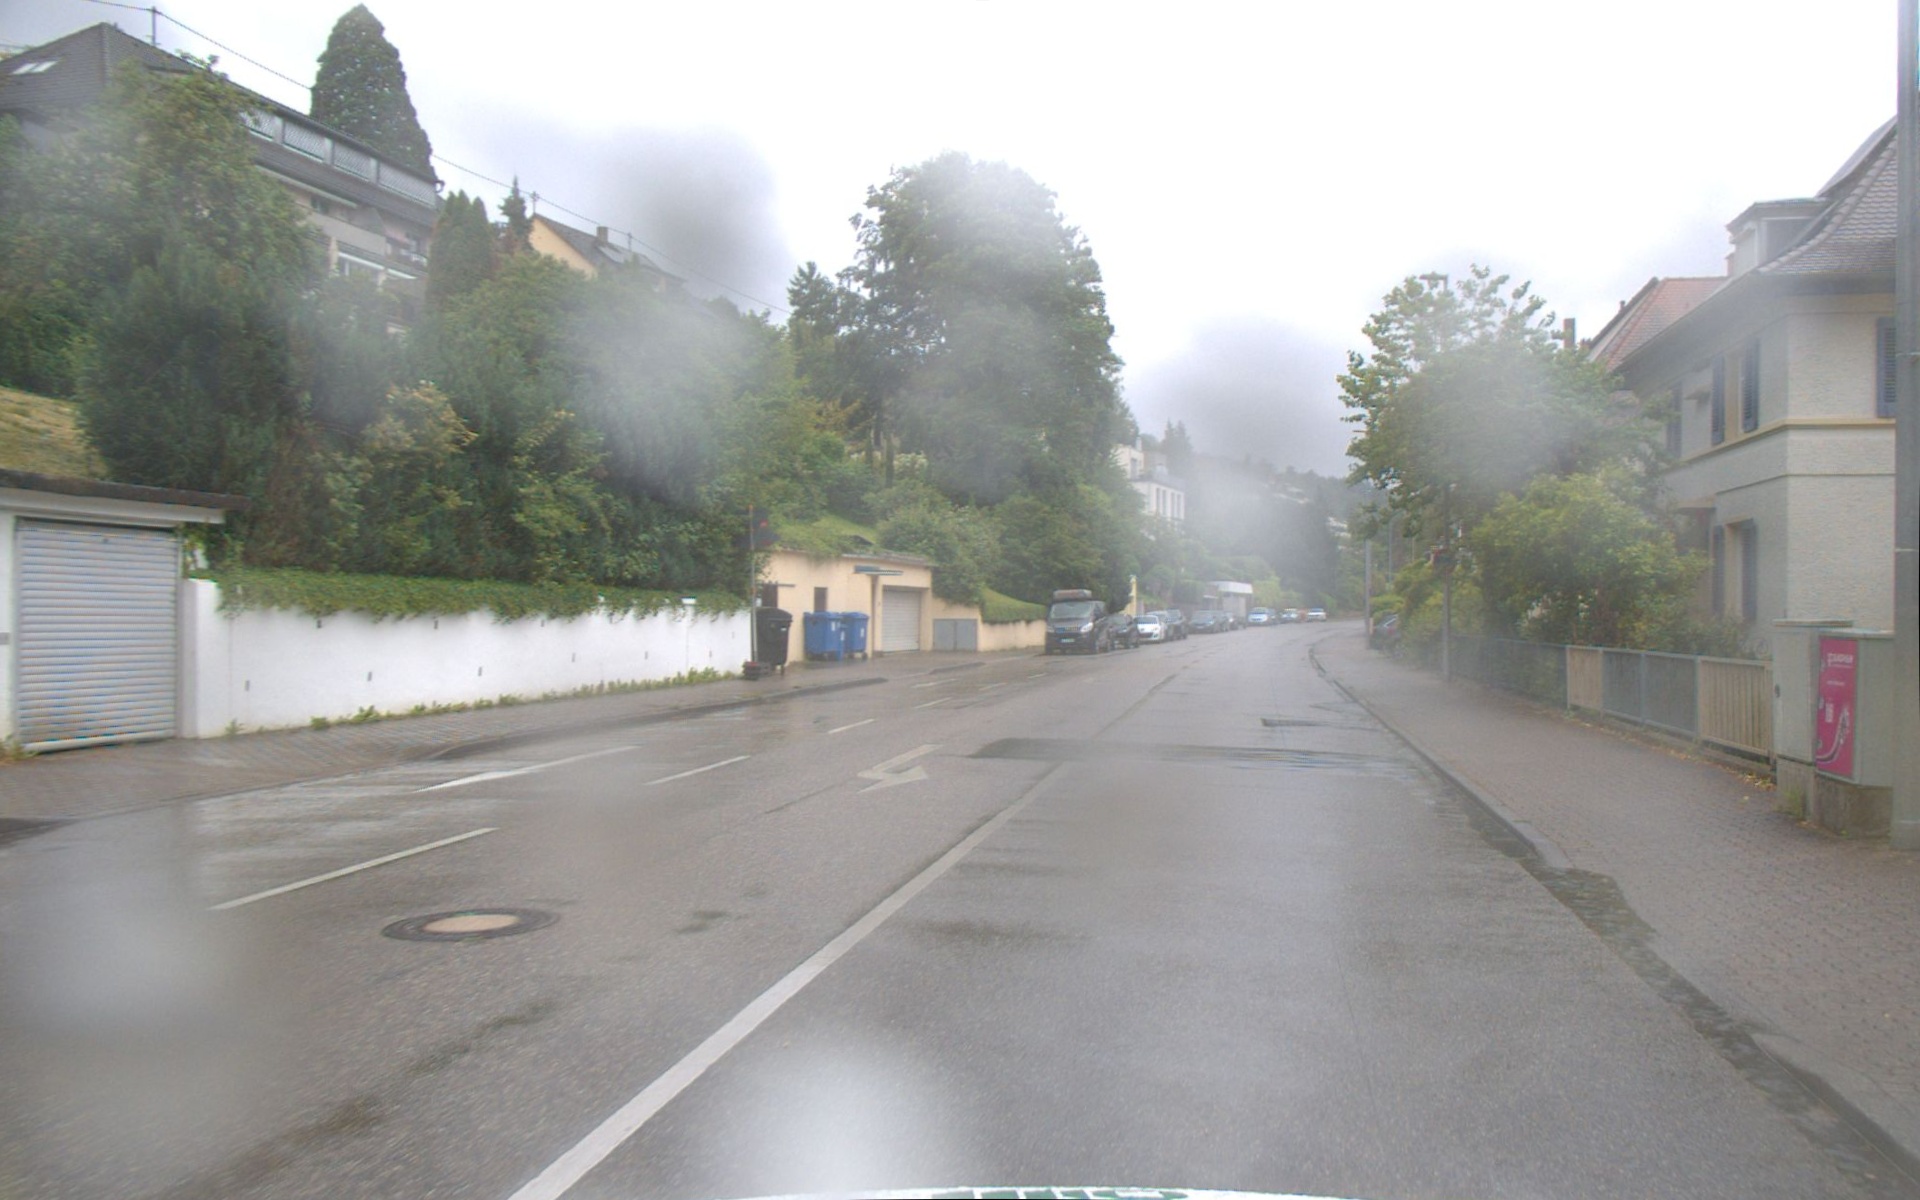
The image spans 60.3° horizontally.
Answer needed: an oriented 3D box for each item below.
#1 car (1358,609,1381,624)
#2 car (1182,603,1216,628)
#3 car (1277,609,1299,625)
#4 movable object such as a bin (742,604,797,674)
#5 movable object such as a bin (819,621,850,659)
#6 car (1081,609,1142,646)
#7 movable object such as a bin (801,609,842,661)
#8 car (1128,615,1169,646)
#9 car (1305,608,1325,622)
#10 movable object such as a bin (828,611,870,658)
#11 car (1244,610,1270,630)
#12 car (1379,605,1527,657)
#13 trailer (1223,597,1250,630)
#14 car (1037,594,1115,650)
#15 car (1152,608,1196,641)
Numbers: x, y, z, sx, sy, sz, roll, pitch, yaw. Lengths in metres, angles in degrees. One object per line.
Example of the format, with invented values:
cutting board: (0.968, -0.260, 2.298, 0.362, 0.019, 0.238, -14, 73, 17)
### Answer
car: (40.202, 1.621, 162.197, 1.752, 1.485, 4.309, 0, 0, 20)
car: (15.990, 1.013, 110.629, 1.747, 1.480, 4.759, -3, 0, 14)
car: (32.436, 1.645, 163.552, 1.719, 1.427, 3.772, -3, -1, 17)
movable object such as a bin: (-4.181, 0.850, 36.310, 0.913, 1.470, 0.862, 3, -1, 10)
movable object such as a bin: (-3.582, 1.142, 47.241, 0.720, 1.060, 0.608, 1, -1, 15)
car: (6.679, 1.193, 72.542, 1.868, 1.506, 4.759, -3, -1, 14)
movable object such as a bin: (-3.875, 0.971, 46.285, 0.803, 1.406, 1.135, 0, 0, 15)
car: (9.531, 1.505, 83.358, 1.679, 1.389, 4.087, -3, 0, 11)
car: (38.959, 1.675, 181.590, 1.719, 1.524, 4.222, -2, -1, 18)
movable object such as a bin: (-3.234, 1.003, 48.464, 0.803, 1.337, 1.403, 0, 0, 15)
car: (25.487, 1.719, 141.808, 1.719, 1.566, 3.759, -3, -1, 17)
car: (14.752, 0.905, 49.613, 1.759, 1.482, 3.935, 0, 0, -44)
trailer: (21.405, 1.009, 127.947, 1.504, 2.441, 3.074, -3, -1, 19)
car: (4.416, 0.819, 62.242, 2.112, 1.952, 5.327, -1, -1, 13)
car: (12.109, 1.369, 93.338, 1.834, 1.654, 4.597, -3, 0, 14)
